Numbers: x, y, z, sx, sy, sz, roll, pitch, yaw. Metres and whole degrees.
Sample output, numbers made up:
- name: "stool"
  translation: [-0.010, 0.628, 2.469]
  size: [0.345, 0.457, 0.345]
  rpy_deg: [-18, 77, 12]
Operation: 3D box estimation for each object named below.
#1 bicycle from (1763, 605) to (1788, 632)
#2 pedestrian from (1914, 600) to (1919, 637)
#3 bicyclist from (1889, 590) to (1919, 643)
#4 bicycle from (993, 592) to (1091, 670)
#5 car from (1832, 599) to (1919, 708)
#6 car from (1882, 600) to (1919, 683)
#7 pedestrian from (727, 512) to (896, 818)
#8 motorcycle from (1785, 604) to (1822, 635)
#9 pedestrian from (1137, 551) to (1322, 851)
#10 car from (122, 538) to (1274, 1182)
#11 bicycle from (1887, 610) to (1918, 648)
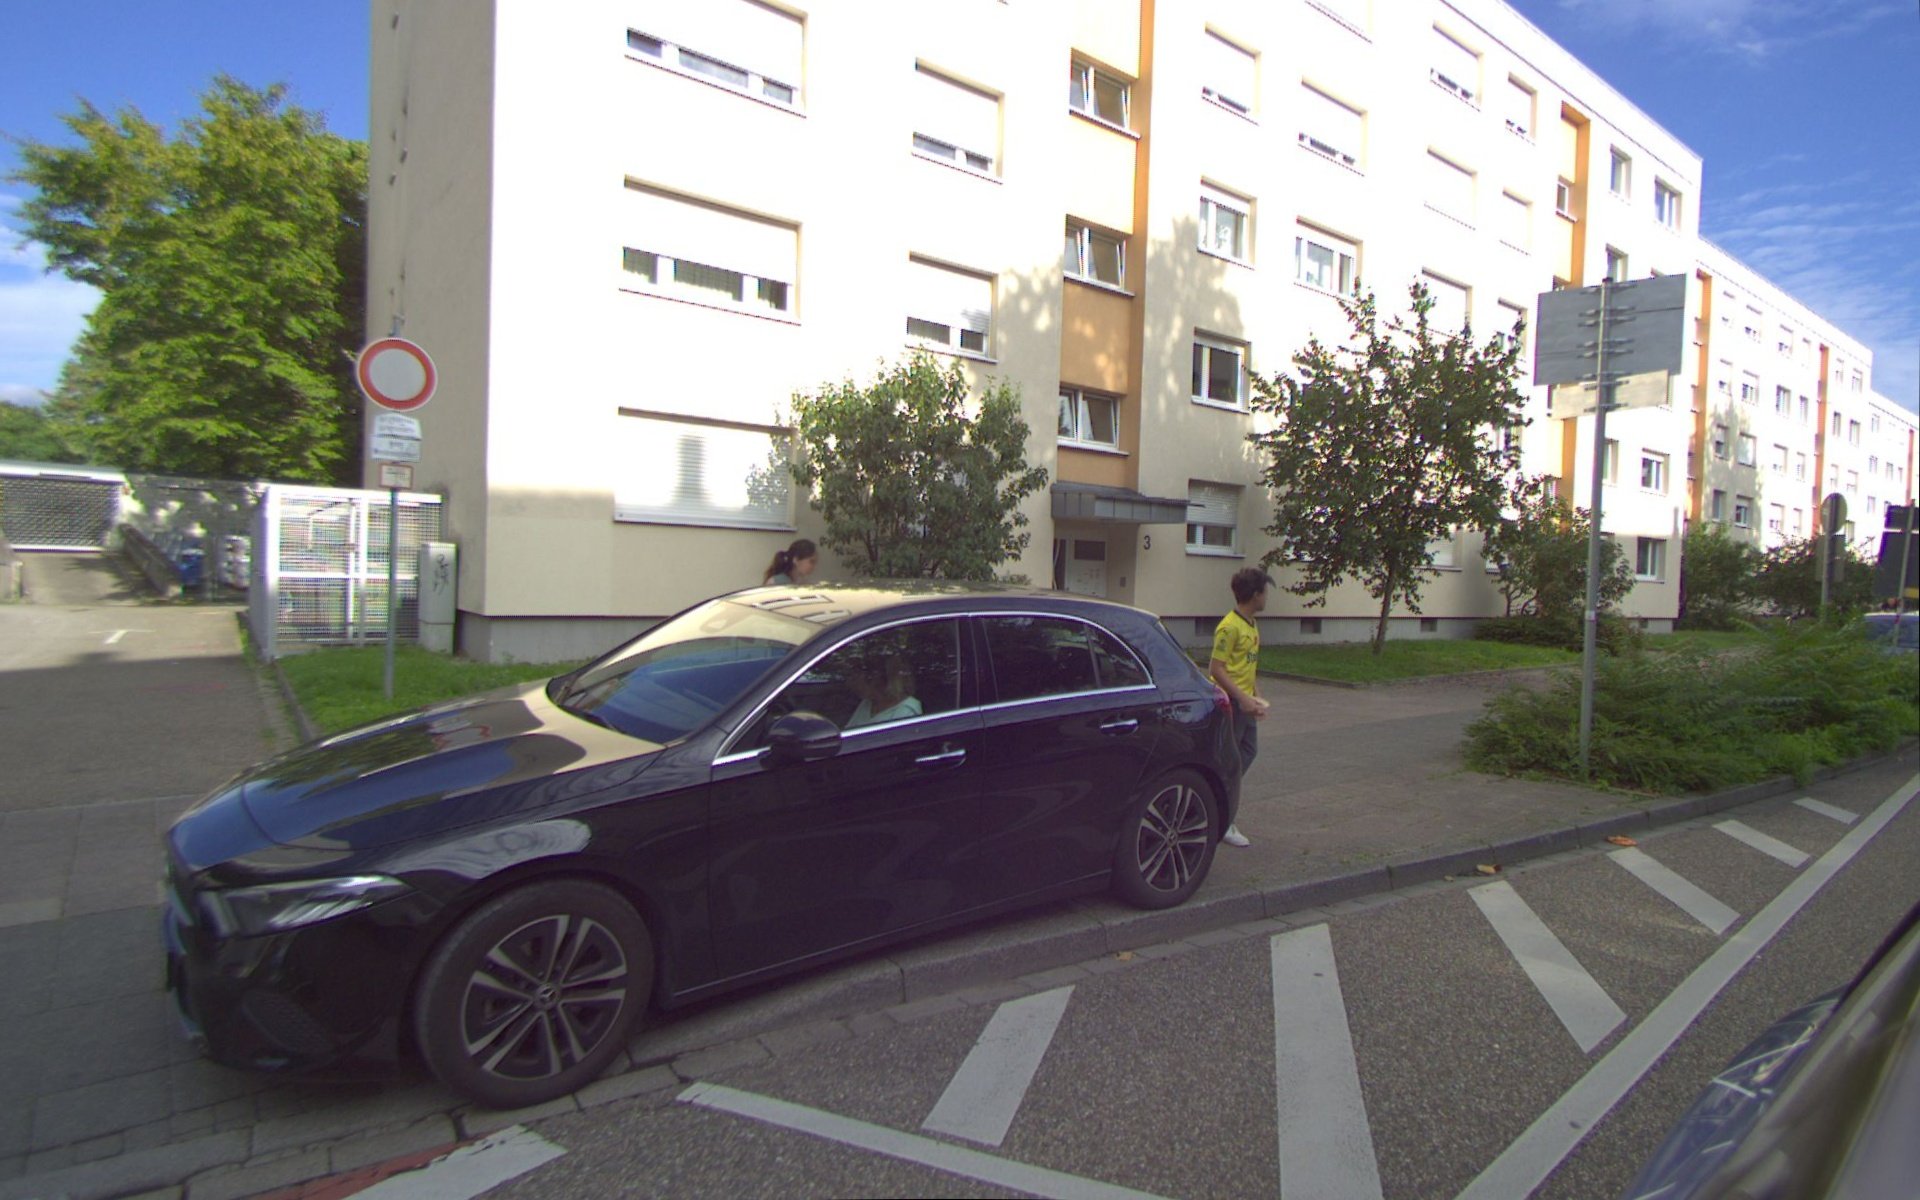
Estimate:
- name: "bicycle"
  translation: [30.269, 0.682, 37.559]
  size: [1.490, 0.953, 0.459]
  rpy_deg: [1, 2, -42]
- name: "pedestrian"
  translation: [45.276, 0.873, 47.496]
  size: [0.756, 1.743, 0.544]
  rpy_deg: [1, 1, -35]
- name: "bicyclist"
  translation: [30.645, 0.528, 32.824]
  size: [0.877, 1.699, 0.624]
  rpy_deg: [1, 1, -41]
- name: "bicycle"
  translation: [1.207, 0.437, 14.728]
  size: [1.527, 1.069, 0.522]
  rpy_deg: [1, 1, -43]
- name: "car"
  translation: [15.497, 0.817, 16.261]
  size: [4.164, 1.547, 1.693]
  rpy_deg: [1, 2, -42]
- name: "car"
  translation: [20.079, 0.825, 20.255]
  size: [4.160, 1.547, 1.694]
  rpy_deg: [1, 2, -38]
- name: "pedestrian"
  translation: [-0.883, 0.348, 6.003]
  size: [0.730, 1.666, 0.654]
  rpy_deg: [1, 1, -41]
- name: "motorcycle"
  translation: [30.388, 0.689, 36.449]
  size: [2.352, 1.057, 0.632]
  rpy_deg: [1, 3, -42]
- name: "pedestrian"
  translation: [1.529, 0.519, 5.758]
  size: [0.730, 1.557, 0.654]
  rpy_deg: [1, 2, -41]
- name: "car"
  translation: [-0.730, 0.557, 4.223]
  size: [4.154, 1.429, 1.766]
  rpy_deg: [1, 3, -37]
- name: "bicycle"
  translation: [30.586, 0.923, 32.828]
  size: [1.896, 1.149, 0.524]
  rpy_deg: [0, 1, -42]
